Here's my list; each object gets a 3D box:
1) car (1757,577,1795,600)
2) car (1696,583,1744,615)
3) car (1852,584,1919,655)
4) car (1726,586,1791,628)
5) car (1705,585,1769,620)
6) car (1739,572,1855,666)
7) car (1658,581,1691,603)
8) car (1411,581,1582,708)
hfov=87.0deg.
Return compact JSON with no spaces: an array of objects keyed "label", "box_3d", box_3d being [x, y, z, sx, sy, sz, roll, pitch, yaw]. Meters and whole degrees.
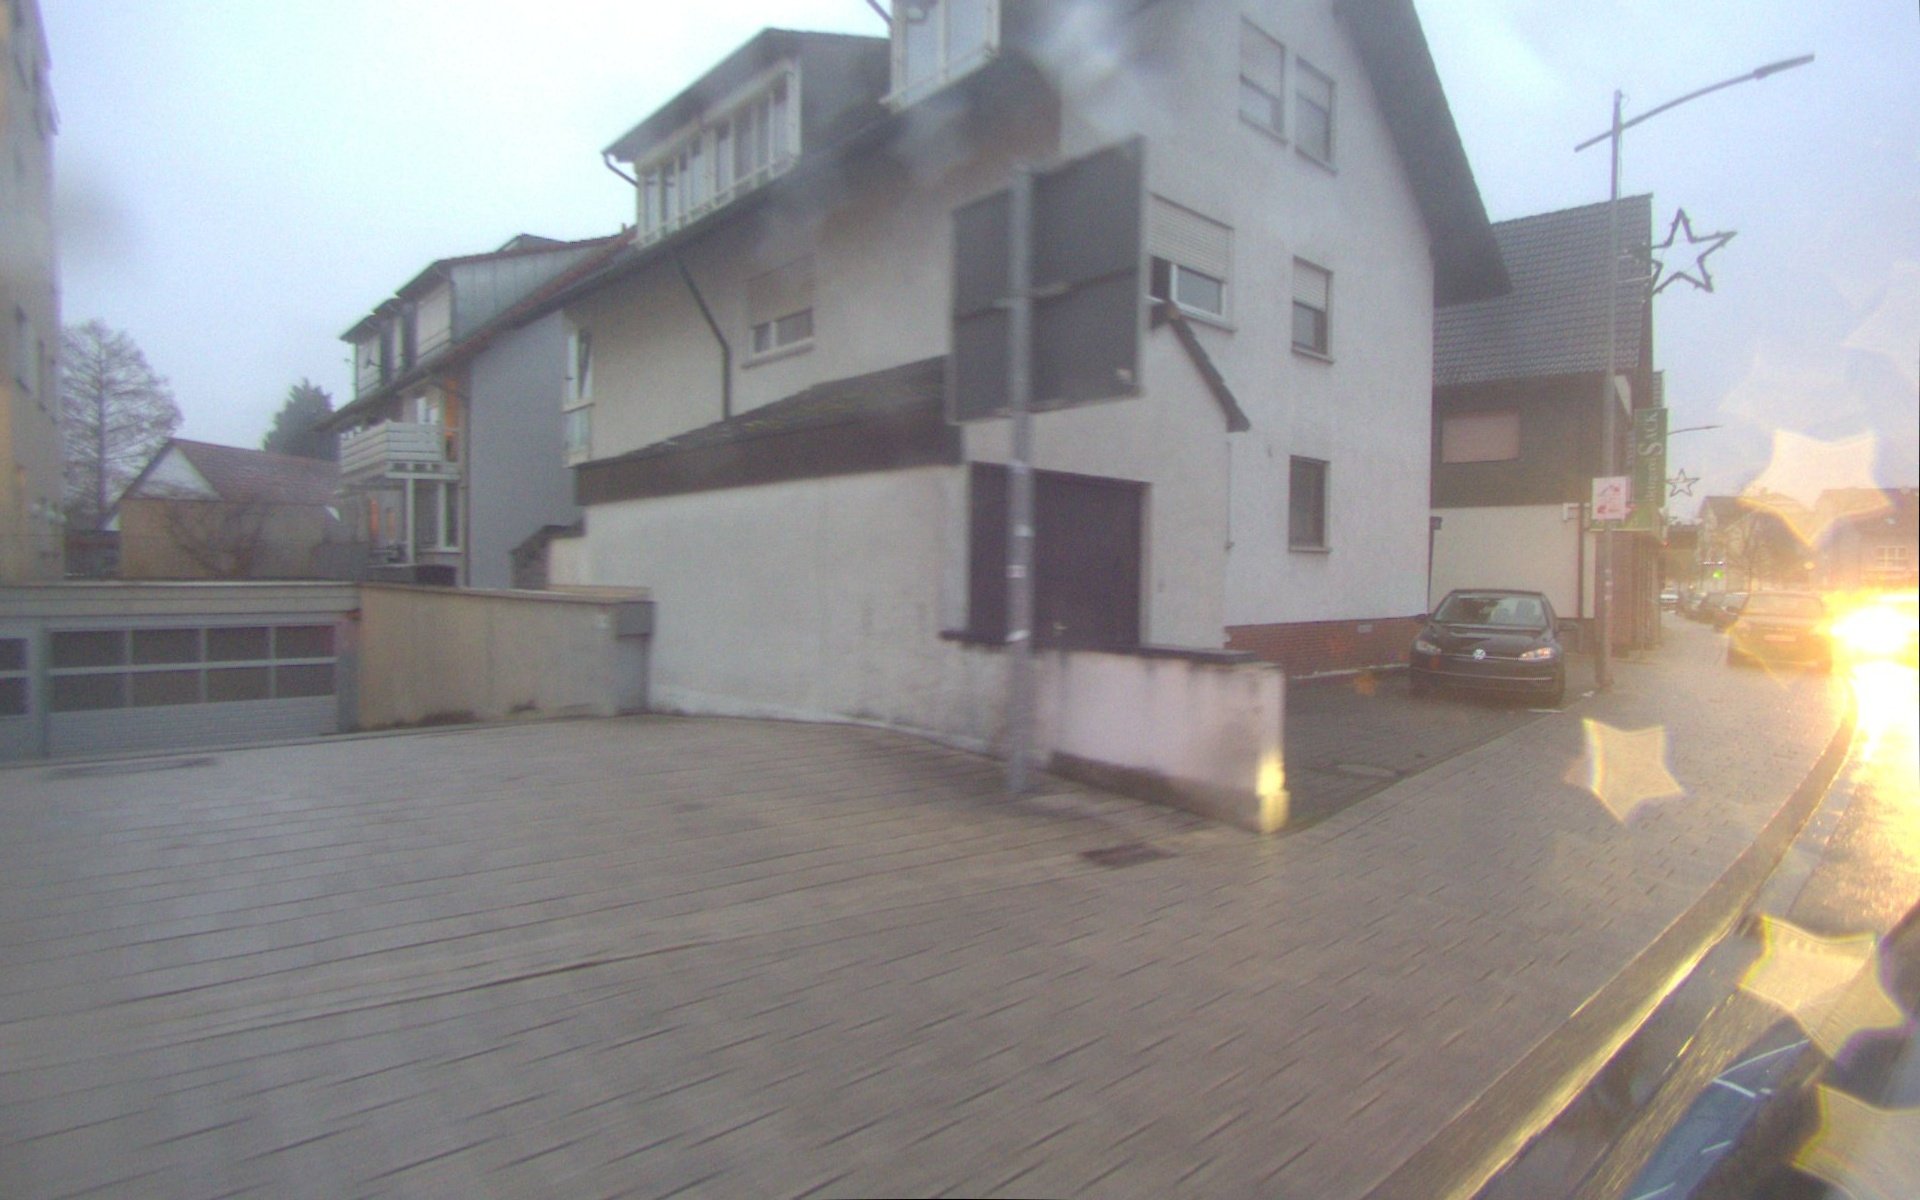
[{"label":"car","box_3d":[60.179,-0.853,74.653,1.654,1.656,3.513,1,1,30]},{"label":"car","box_3d":[41.013,-0.098,54.716,1.657,1.595,4.446,2,2,32]},{"label":"car","box_3d":[24.187,0.446,25.676,1.896,1.660,4.507,1,1,36]},{"label":"car","box_3d":[31.601,0.231,40.148,1.647,1.472,4.186,4,3,34]},{"label":"car","box_3d":[37.474,0.101,48.922,1.948,1.552,4.952,-1,0,32]},{"label":"car","box_3d":[18.820,0.359,22.697,1.769,1.803,3.939,5,4,42]},{"label":"car","box_3d":[55.362,-0.628,78.472,1.799,1.583,4.257,2,2,31]},{"label":"car","box_3d":[7.555,0.487,14.073,1.758,1.410,3.869,4,3,32]}]
